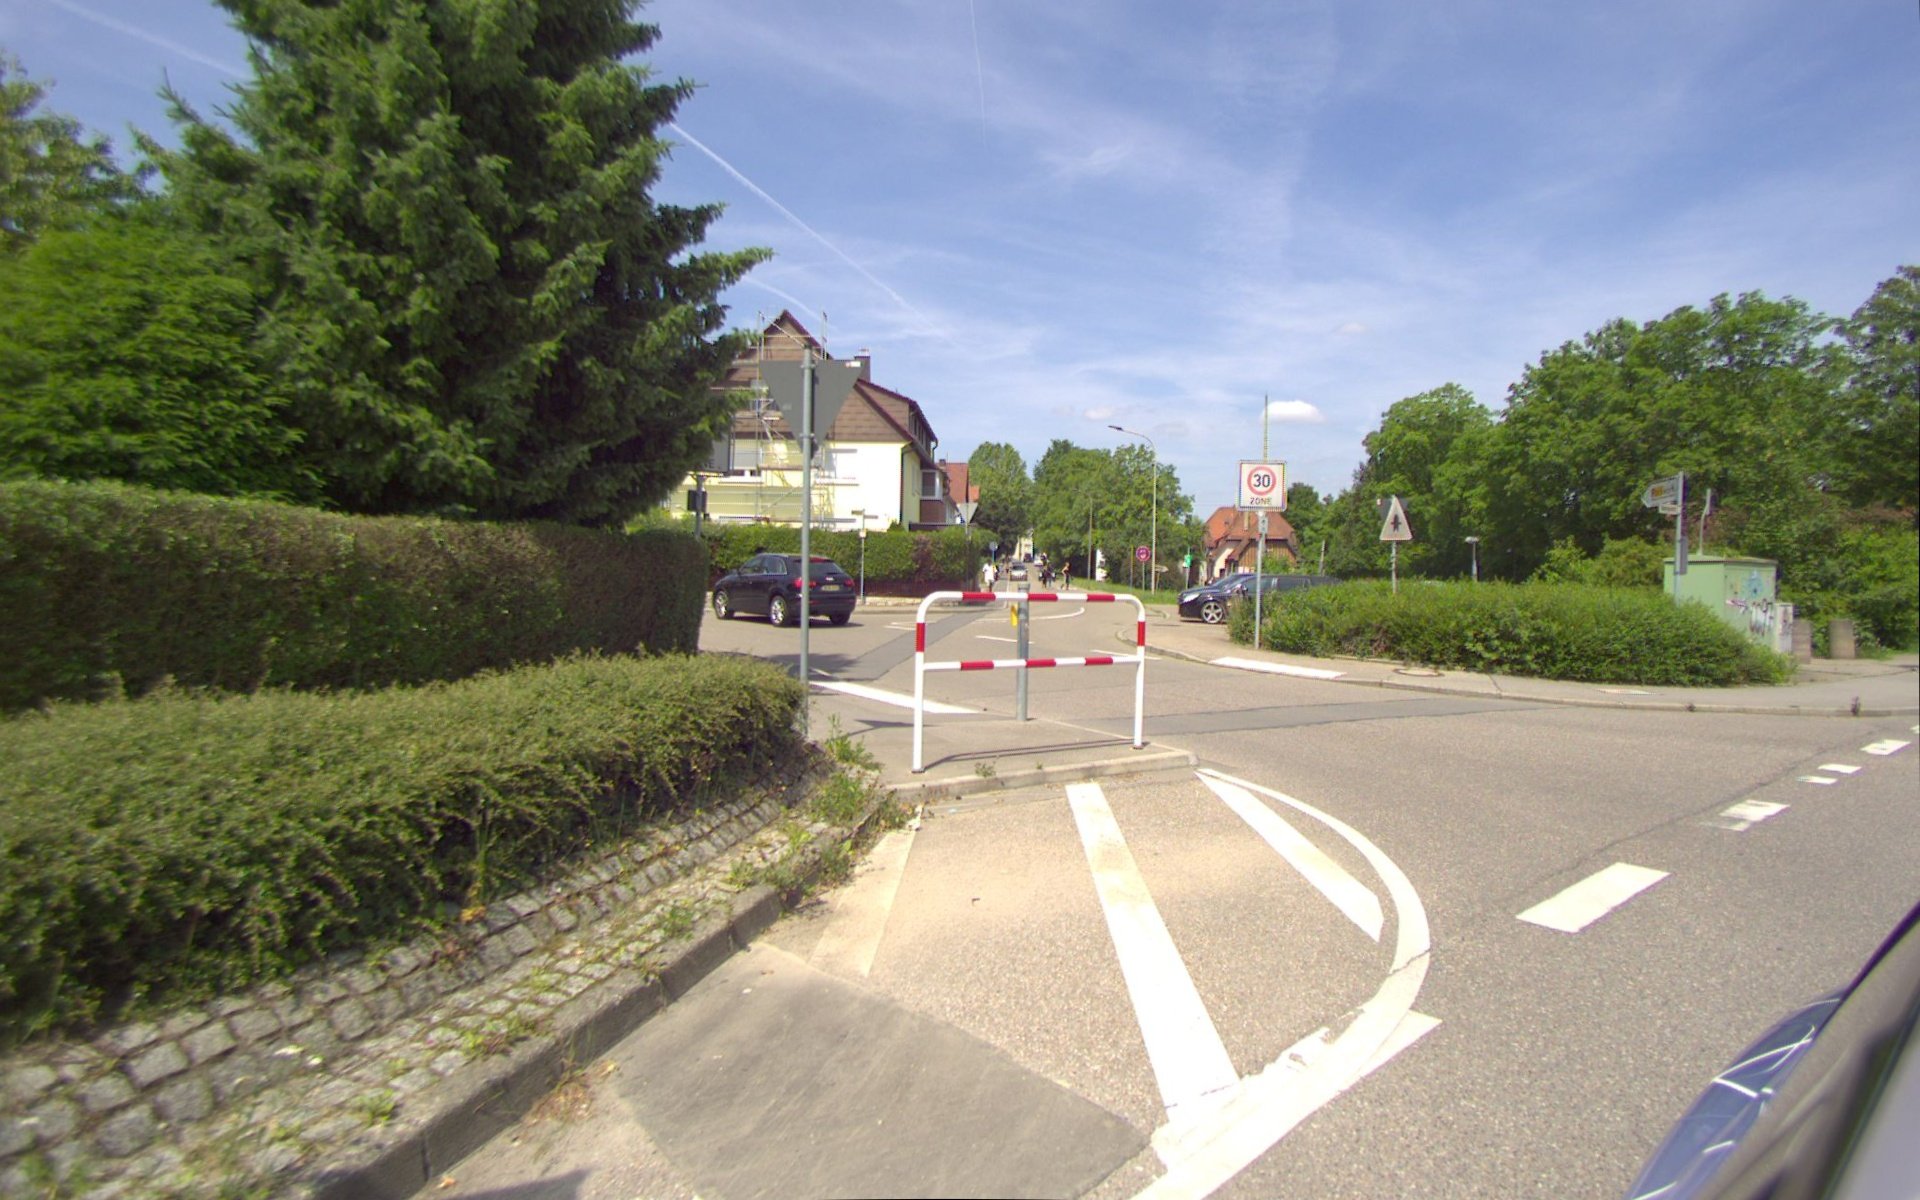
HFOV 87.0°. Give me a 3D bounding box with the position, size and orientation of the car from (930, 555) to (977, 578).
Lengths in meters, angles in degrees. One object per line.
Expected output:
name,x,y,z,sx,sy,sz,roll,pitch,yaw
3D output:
car,-0.562,-2.891,86.506,3.925,1.799,2.000,2,2,1

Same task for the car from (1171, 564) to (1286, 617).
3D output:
car,8.750,-0.334,33.131,3.374,1.503,1.416,3,2,6

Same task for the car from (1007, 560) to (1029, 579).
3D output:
car,5.710,-2.999,99.177,1.965,1.748,3.995,2,2,6

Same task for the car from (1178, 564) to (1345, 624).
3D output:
car,8.224,-0.193,27.876,4.218,1.415,1.396,3,2,11

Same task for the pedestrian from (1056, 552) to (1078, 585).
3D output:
pedestrian,6.820,-1.980,64.500,1.090,2.038,1.004,3,2,18

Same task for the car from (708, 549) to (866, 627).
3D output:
car,-4.017,-0.345,23.085,1.744,1.574,3.906,-2,4,-42

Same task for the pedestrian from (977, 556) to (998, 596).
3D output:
pedestrian,1.178,-1.019,42.876,0.766,1.625,0.798,2,2,7

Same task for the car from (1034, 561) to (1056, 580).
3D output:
car,8.325,-2.865,98.974,1.965,1.748,3.995,2,2,6

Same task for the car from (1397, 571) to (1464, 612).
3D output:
car,20.236,-0.375,43.685,1.581,1.638,3.727,2,1,9
